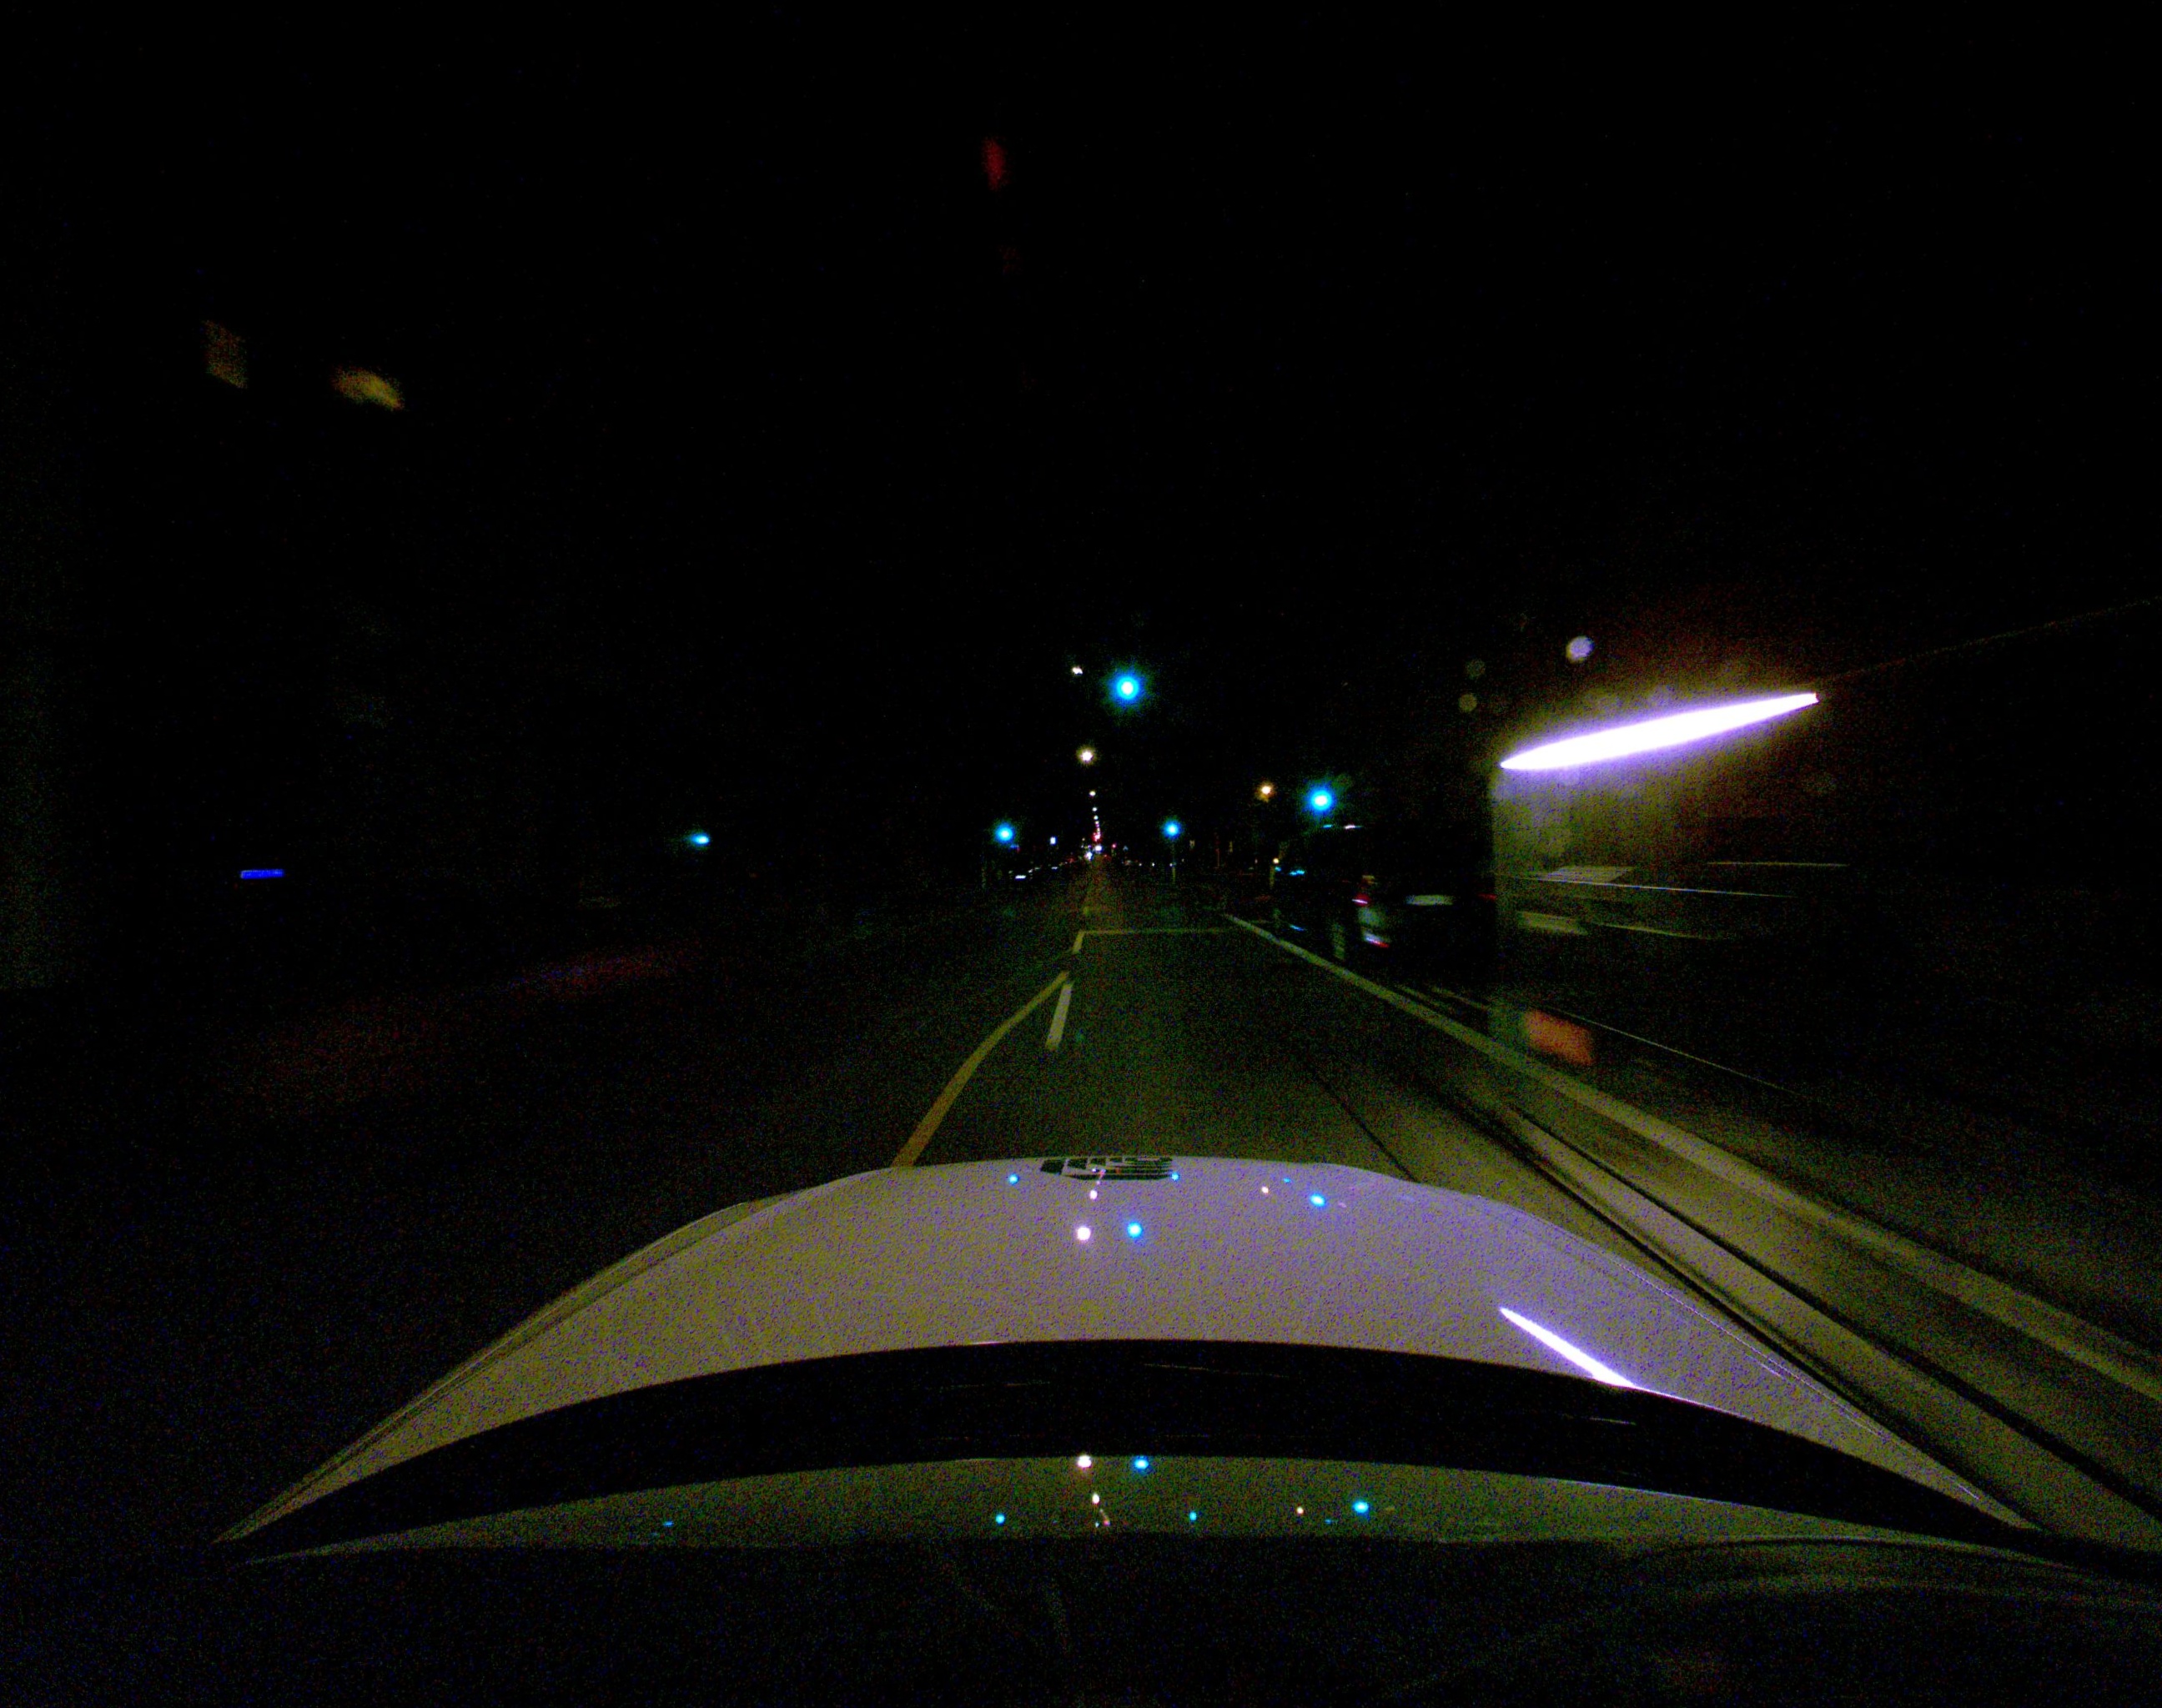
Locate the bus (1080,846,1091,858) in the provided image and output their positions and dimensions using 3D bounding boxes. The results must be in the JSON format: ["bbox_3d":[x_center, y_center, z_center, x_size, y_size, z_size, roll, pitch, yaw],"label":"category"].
[{"bbox_3d":[1.222,-0.581,228.657,2.827,3.177,10.502,0,1,1],"label":"bus"}]

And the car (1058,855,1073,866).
[{"bbox_3d":[-2.055,0.873,110.947,1.857,1.491,4.280,0,0,1],"label":"car"}]

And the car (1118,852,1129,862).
[{"bbox_3d":[7.213,0.486,138.372,1.756,1.476,4.082,-3,1,2],"label":"car"}]

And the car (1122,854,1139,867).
[{"bbox_3d":[6.036,0.765,99.879,1.839,1.417,4.645,-4,-1,1],"label":"car"}]

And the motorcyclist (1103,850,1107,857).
[{"bbox_3d":[5.783,-0.126,197.336,0.845,1.752,0.806,0,-1,1],"label":"motorcyclist"}]

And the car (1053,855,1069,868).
[{"bbox_3d":[-2.367,0.917,97.198,1.829,1.446,4.544,-1,0,0],"label":"car"}]

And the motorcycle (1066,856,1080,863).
[{"bbox_3d":[-1.252,0.839,129.504,2.180,1.131,0.720,-1,1,34],"label":"motorcycle"}]

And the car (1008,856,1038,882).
[{"bbox_3d":[-3.469,0.879,49.039,1.643,1.514,3.699,0,-1,-2],"label":"car"}]

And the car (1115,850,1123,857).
[{"bbox_3d":[8.717,-0.093,187.177,1.805,1.594,4.275,-2,1,1],"label":"car"}]

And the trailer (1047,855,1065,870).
[{"bbox_3d":[-2.776,0.940,91.242,1.629,1.639,3.445,0,-1,6],"label":"trailer"}]

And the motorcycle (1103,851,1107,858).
[{"bbox_3d":[5.786,0.077,197.332,0.927,1.752,2.625,0,-1,2],"label":"motorcycle"}]

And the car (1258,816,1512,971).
[{"bbox_3d":[4.195,0.476,12.254,1.905,1.827,4.898,-1,0,-1],"label":"car"}]

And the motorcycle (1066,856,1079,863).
[{"bbox_3d":[-1.356,0.886,127.486,0.720,1.147,2.182,-2,1,-41],"label":"motorcycle"}]

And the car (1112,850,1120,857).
[{"bbox_3d":[8.639,-0.163,200.549,1.862,1.526,4.151,-2,1,1],"label":"car"}]

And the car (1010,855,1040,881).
[{"bbox_3d":[-3.702,0.910,54.713,1.843,1.650,4.668,0,1,-2],"label":"car"}]

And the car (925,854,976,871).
[{"bbox_3d":[-11.323,0.732,70.785,3.962,1.425,1.767,2,0,11],"label":"car"}]

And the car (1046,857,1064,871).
[{"bbox_3d":[-2.746,1.057,86.583,1.808,1.484,4.347,-1,0,0],"label":"car"}]

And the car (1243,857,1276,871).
[{"bbox_3d":[18.528,1.028,84.564,1.779,1.417,3.862,-1,-1,39],"label":"car"}]
